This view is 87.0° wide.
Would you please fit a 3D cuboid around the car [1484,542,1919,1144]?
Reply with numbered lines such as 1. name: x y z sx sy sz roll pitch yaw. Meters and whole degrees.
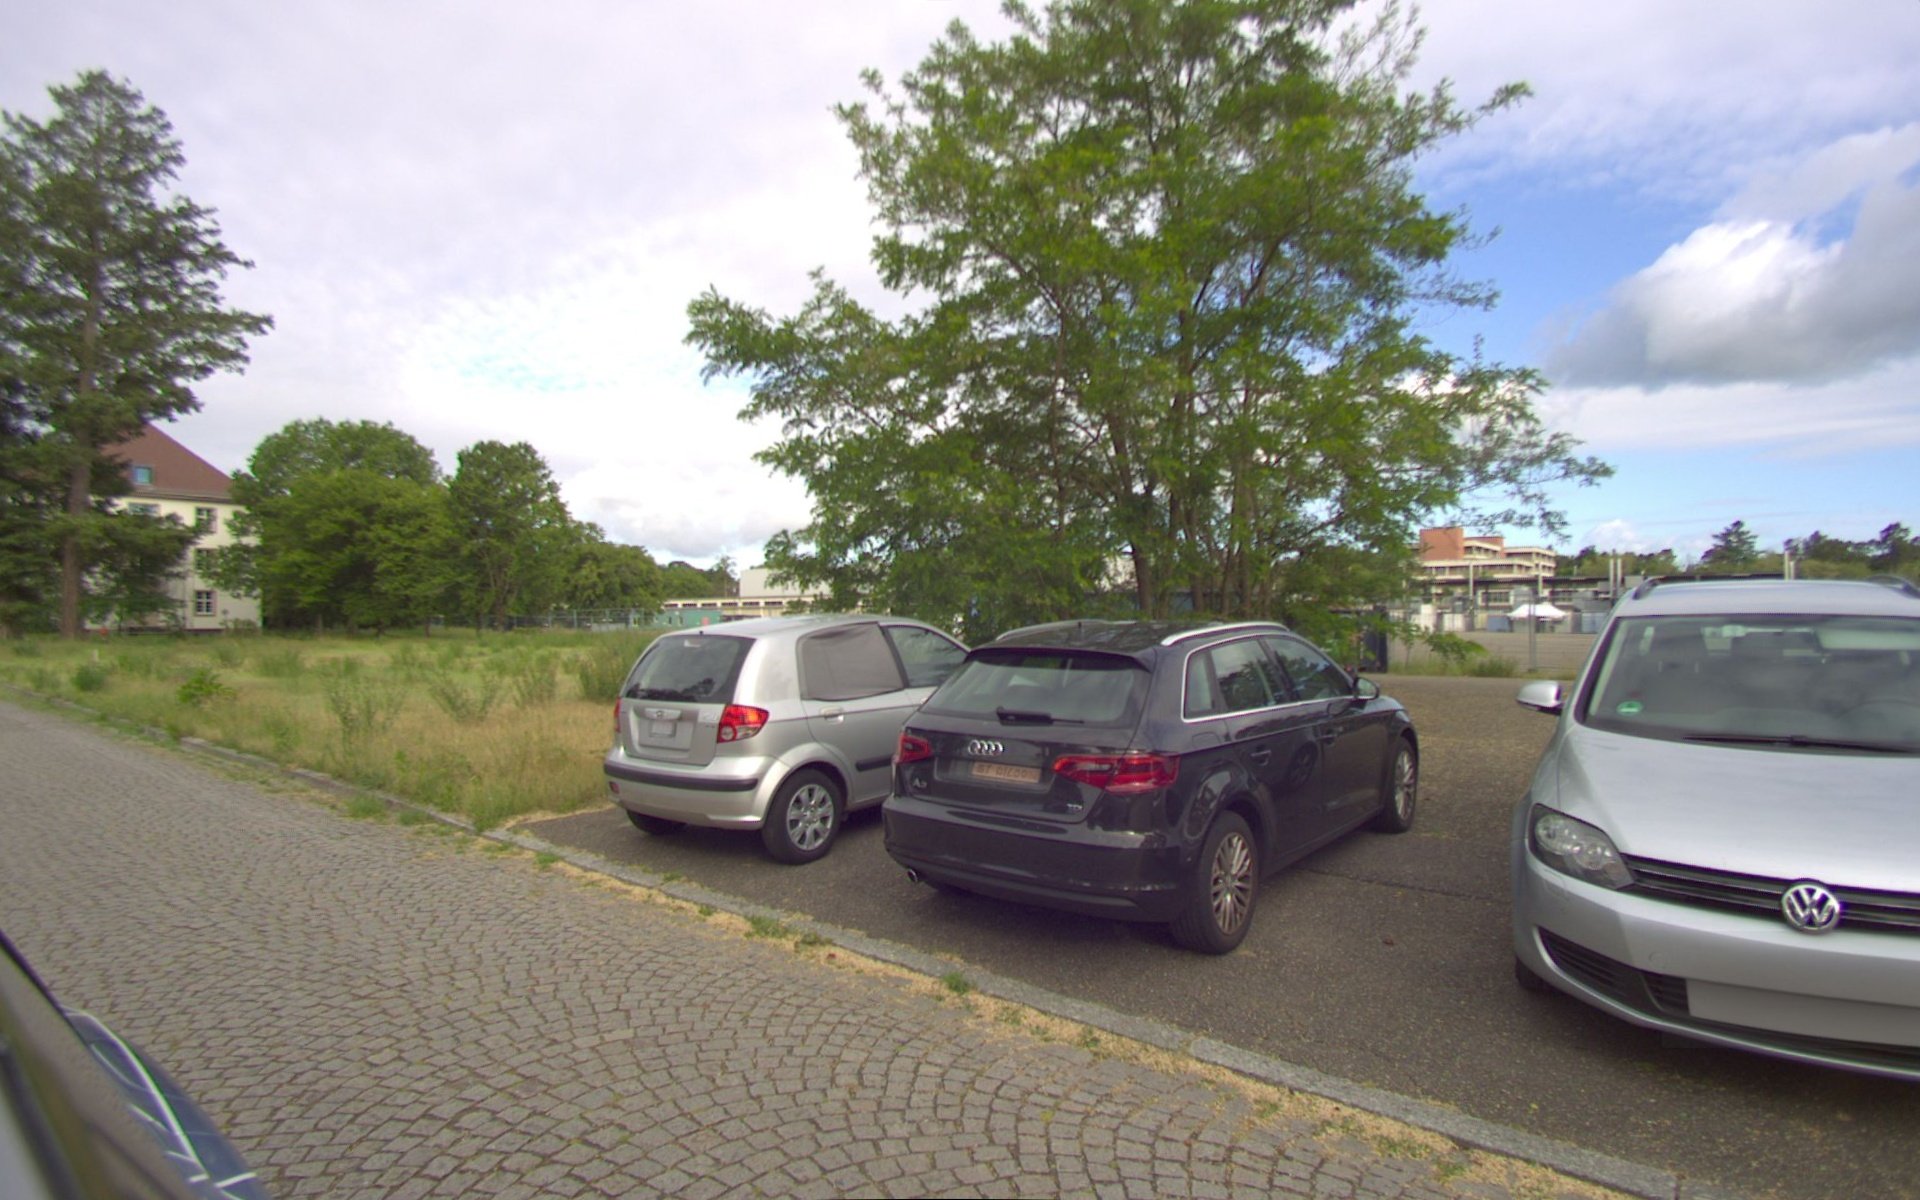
1. car: 3.719 0.624 4.537 1.868 1.610 4.325 -1 0 35

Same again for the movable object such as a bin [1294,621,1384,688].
1. movable object such as a bin: 6.896 0.974 18.349 0.858 1.134 2.239 -1 -2 39

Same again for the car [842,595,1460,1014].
1. car: 1.487 0.758 5.984 1.720 1.435 4.392 -1 1 39

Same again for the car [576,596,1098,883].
1. car: -0.651 0.775 7.599 1.582 1.481 3.913 -1 1 38
